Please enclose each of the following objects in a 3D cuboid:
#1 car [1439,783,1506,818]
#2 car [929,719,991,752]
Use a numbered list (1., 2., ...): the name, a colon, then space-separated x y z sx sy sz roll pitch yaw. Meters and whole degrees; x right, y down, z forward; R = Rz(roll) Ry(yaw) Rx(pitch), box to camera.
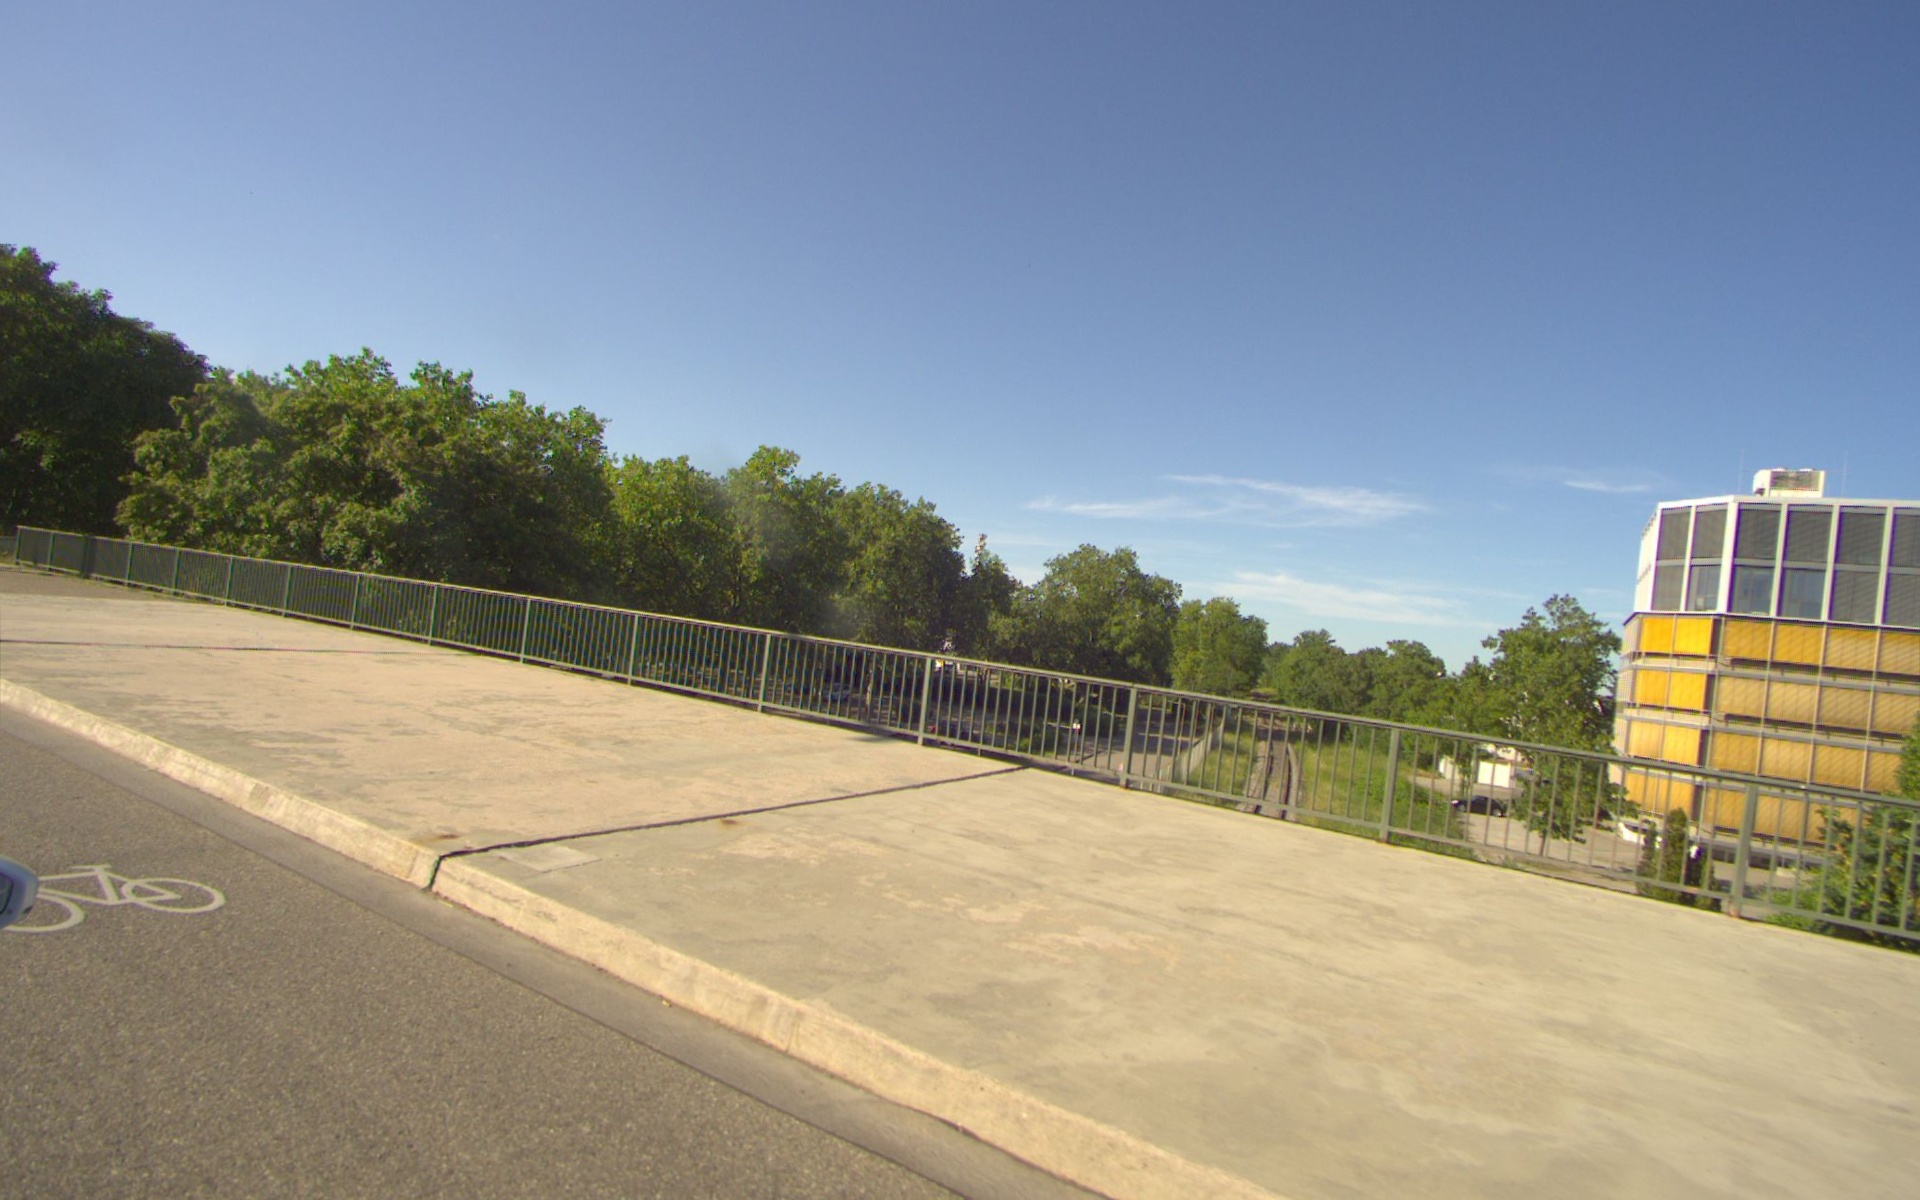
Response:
1. car: 37.617 14.702 73.898 3.925 1.657 1.785 8 -3 16
2. car: 0.001 9.860 73.552 3.927 1.658 1.846 8 -2 23
